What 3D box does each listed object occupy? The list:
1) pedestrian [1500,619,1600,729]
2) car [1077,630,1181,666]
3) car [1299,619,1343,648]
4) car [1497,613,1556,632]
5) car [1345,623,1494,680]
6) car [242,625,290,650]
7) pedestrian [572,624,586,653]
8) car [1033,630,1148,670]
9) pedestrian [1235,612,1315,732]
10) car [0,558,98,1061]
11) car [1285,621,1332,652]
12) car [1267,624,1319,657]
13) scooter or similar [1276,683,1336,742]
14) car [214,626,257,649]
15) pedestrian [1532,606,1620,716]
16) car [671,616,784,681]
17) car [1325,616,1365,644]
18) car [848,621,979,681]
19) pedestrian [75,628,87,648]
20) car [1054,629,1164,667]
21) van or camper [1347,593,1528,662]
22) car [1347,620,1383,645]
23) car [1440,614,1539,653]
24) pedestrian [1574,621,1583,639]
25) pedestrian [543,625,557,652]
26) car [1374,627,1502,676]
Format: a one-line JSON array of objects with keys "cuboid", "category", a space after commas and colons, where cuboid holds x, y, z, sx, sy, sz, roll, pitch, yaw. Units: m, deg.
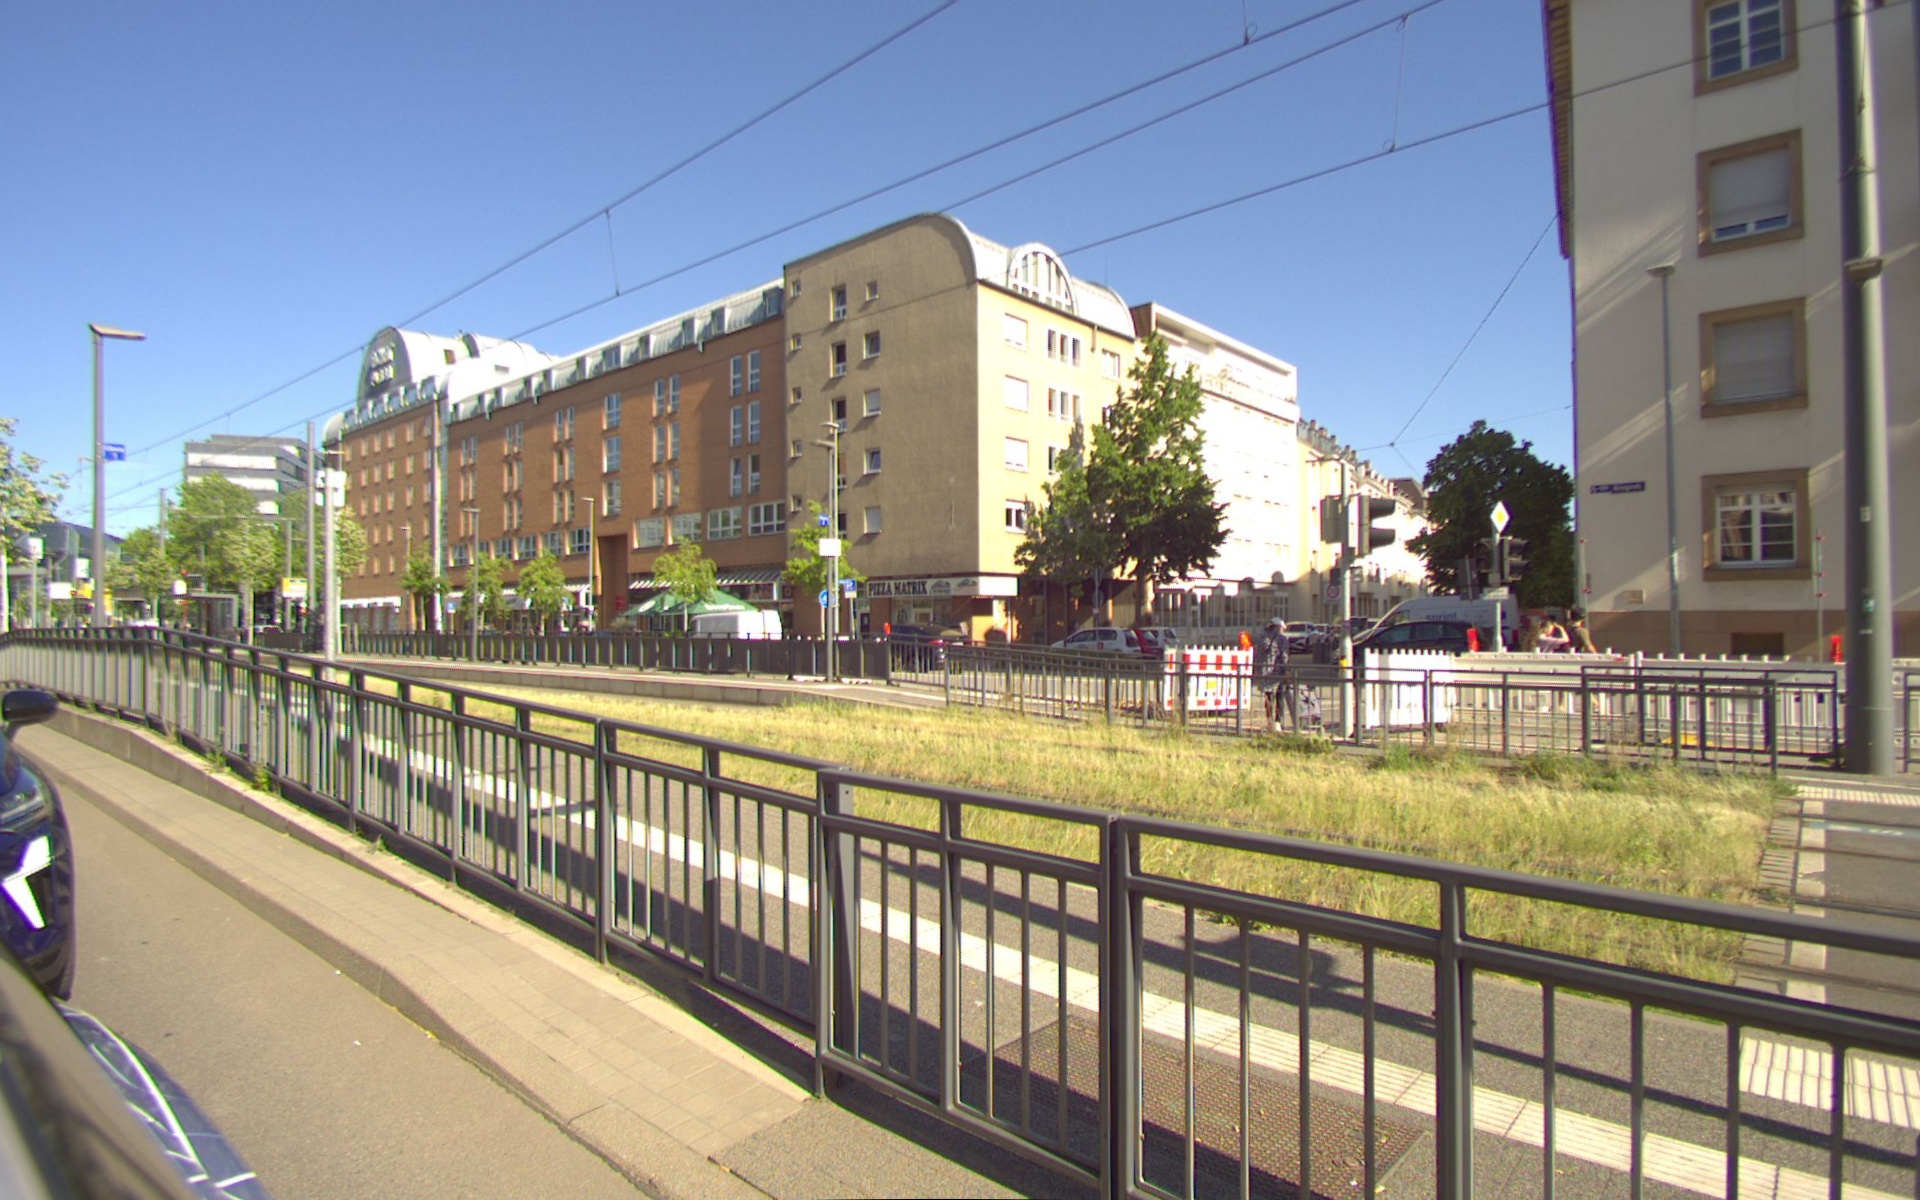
[{"cuboid": [8.764, 1.071, 15.061, 0.853, 1.548, 0.912, -1, -1, -17], "category": "pedestrian"}, {"cuboid": [7.104, 1.988, 42.496, 3.980, 1.462, 1.768, -1, -2, 28], "category": "car"}, {"cuboid": [21.971, 2.009, 61.473, 1.947, 1.674, 3.962, -1, -2, 28], "category": "car"}, {"cuboid": [44.320, 1.754, 79.303, 3.853, 1.472, 1.740, -1, -2, 24], "category": "car"}, {"cuboid": [13.026, 1.424, 28.749, 3.662, 1.533, 1.673, -1, -2, 32], "category": "car"}, {"cuboid": [-51.024, 2.730, 74.411, 3.998, 1.696, 1.973, -1, 0, 41], "category": "car"}, {"cuboid": [-24.835, 2.507, 65.945, 0.644, 1.854, 0.614, -2, -2, 41], "category": "pedestrian"}, {"cuboid": [4.978, 1.873, 38.616, 3.980, 1.462, 1.768, -1, -2, 28], "category": "car"}, {"cuboid": [4.221, 0.939, 13.619, 0.787, 1.548, 0.815, -1, -1, 1], "category": "pedestrian"}, {"cuboid": [-5.015, 0.700, 4.080, 3.998, 1.618, 1.779, -1, 0, 41], "category": "car"}, {"cuboid": [19.889, 2.059, 57.614, 1.947, 1.674, 3.962, -1, -2, 28], "category": "car"}, {"cuboid": [17.670, 2.112, 53.649, 1.947, 1.674, 3.962, -2, -2, 28], "category": "car"}, {"cuboid": [4.379, 1.417, 12.843, 0.509, 0.656, 0.709, -1, -1, 0], "category": "scooter or similar"}, {"cuboid": [-57.921, 2.947, 80.899, 3.998, 1.696, 1.973, -1, 0, 41], "category": "car"}, {"cuboid": [10.481, 1.012, 17.244, 0.853, 1.794, 0.912, -1, -1, -23], "category": "pedestrian"}, {"cuboid": [-9.324, 1.861, 40.218, 1.969, 2.388, 5.653, 0, -2, -41], "category": "car"}, {"cuboid": [25.056, 1.941, 65.855, 1.947, 1.674, 3.962, -2, -2, 28], "category": "car"}, {"cuboid": [-1.519, 1.570, 32.041, 3.997, 1.773, 1.796, -2, -2, 40], "category": "car"}, {"cuboid": [-71.365, 3.097, 82.133, 0.599, 1.581, 0.730, 0, -2, -29], "category": "pedestrian"}, {"cuboid": [5.940, 1.897, 40.383, 3.980, 1.462, 1.768, -1, -2, 28], "category": "car"}, {"cuboid": [17.675, 1.034, 37.569, 5.933, 2.419, 1.979, -1, -2, 30], "category": "van or camper"}, {"cuboid": [28.206, 2.264, 70.468, 1.947, 1.674, 3.962, -1, -2, 28], "category": "car"}, {"cuboid": [25.265, 1.578, 48.294, 3.990, 1.789, 1.722, -1, -2, 35], "category": "car"}, {"cuboid": [61.767, 2.989, 101.062, 0.687, 1.768, 0.807, -2, -2, 34], "category": "pedestrian"}, {"cuboid": [-28.199, 2.631, 69.627, 0.644, 1.854, 0.614, -2, -2, 39], "category": "pedestrian"}, {"cuboid": [15.776, 1.662, 33.453, 3.654, 1.533, 1.673, -1, -2, 32], "category": "car"}]
